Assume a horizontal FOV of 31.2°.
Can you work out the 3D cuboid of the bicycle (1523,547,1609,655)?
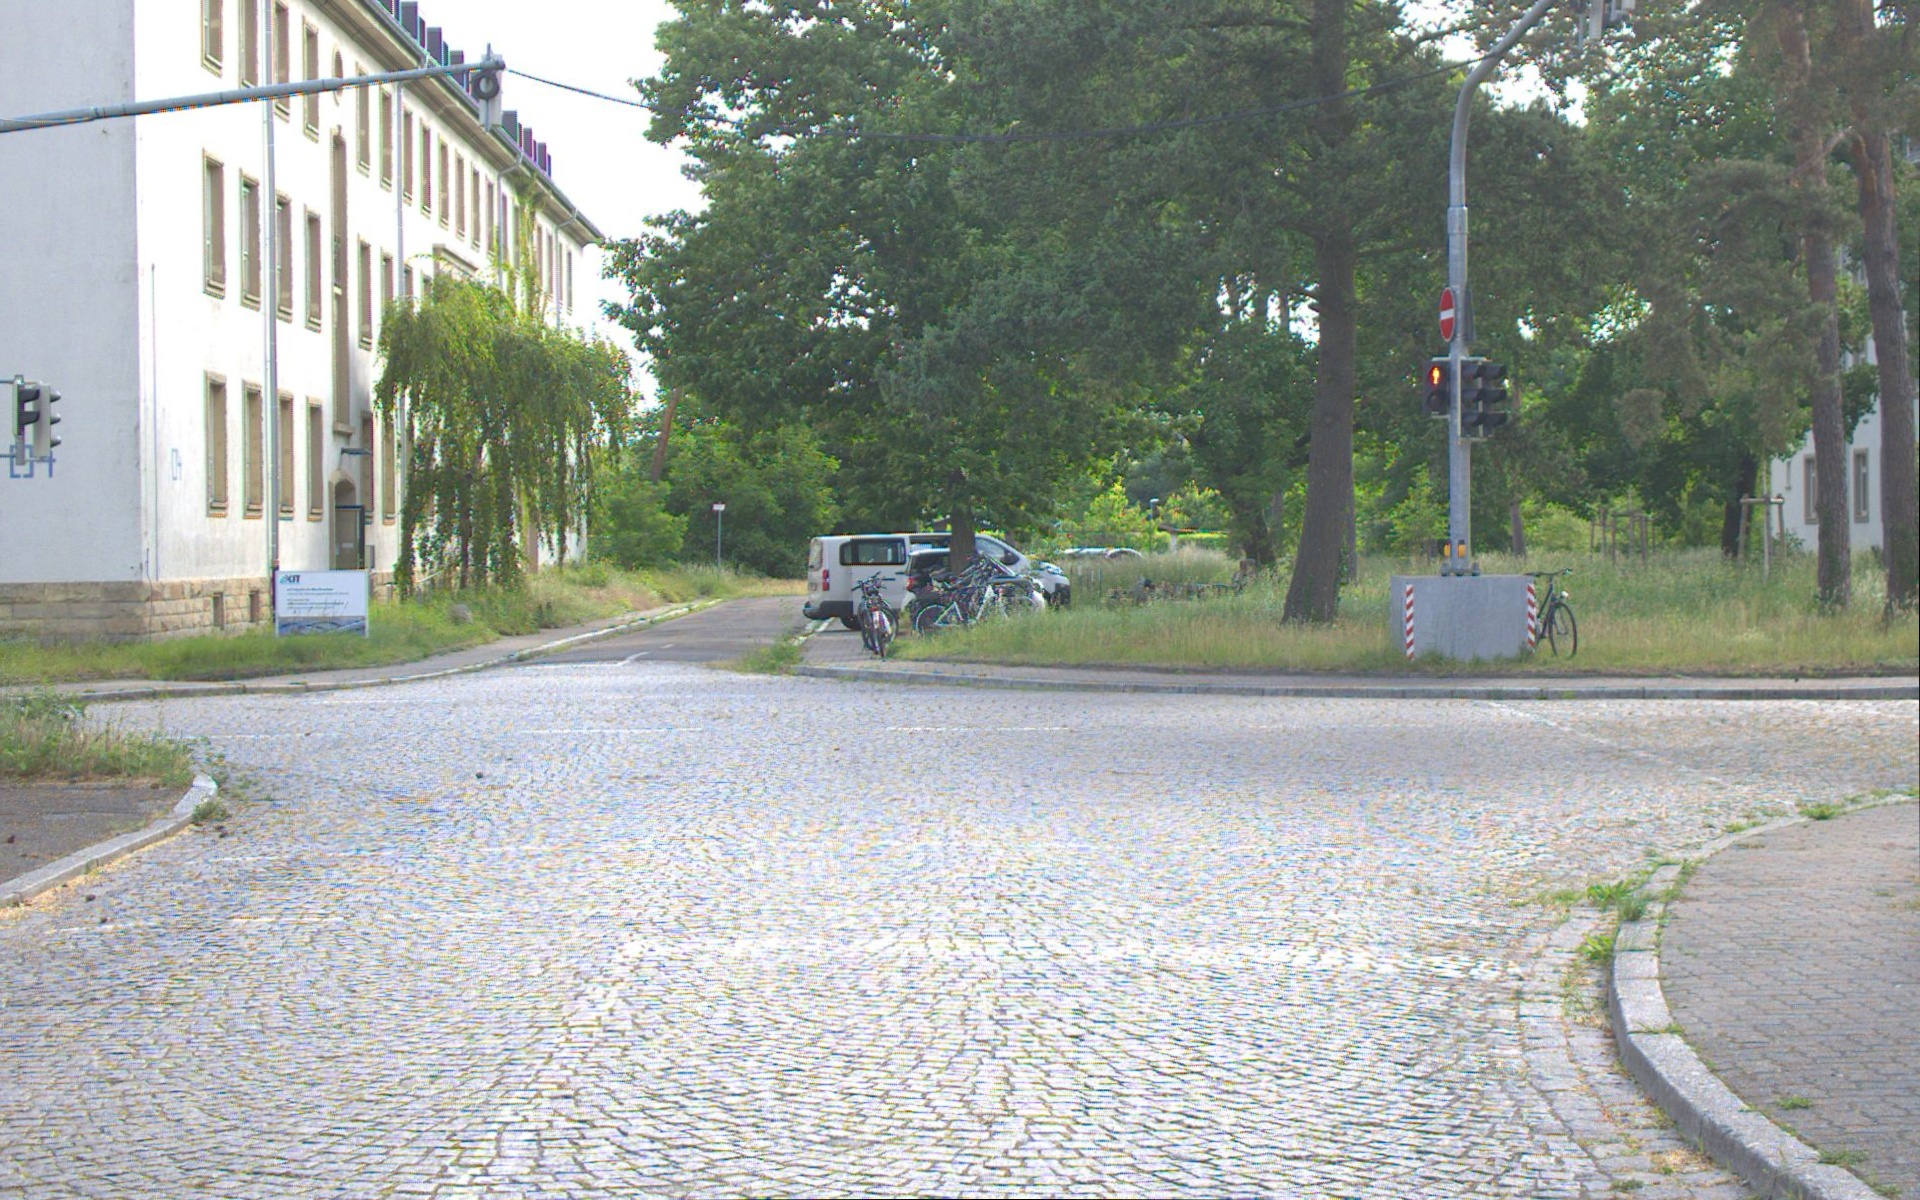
[{"bbox_3d":[6.839,-0.006,38.884,0.724,1.165,2.736,1,1,6],"label":"bicycle"}]

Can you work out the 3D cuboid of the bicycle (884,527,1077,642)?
[{"bbox_3d":[0.297,-0.244,51.850,2.775,1.688,1.120,-1,1,-8],"label":"bicycle"}]

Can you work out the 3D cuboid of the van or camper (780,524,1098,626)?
[{"bbox_3d":[-0.429,-0.510,68.623,6.030,1.942,2.001,-1,1,-14],"label":"van or camper"}]

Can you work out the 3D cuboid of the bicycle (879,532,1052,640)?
[{"bbox_3d":[0.096,-0.237,56.754,2.775,1.688,1.120,2,1,1],"label":"bicycle"}]

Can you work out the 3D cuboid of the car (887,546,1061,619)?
[{"bbox_3d":[0.246,-0.341,65.050,3.137,1.349,1.620,0,1,-6],"label":"car"}]

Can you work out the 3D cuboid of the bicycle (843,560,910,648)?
[{"bbox_3d":[-1.108,0.038,46.374,0.725,1.104,2.462,-5,1,1],"label":"bicycle"}]

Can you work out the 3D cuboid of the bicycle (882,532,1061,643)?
[{"bbox_3d":[0.197,-0.202,55.417,2.776,1.688,1.120,2,1,4],"label":"bicycle"}]

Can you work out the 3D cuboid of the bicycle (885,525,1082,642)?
[{"bbox_3d":[0.338,-0.252,50.656,2.775,1.688,1.120,-1,1,-6],"label":"bicycle"}]
